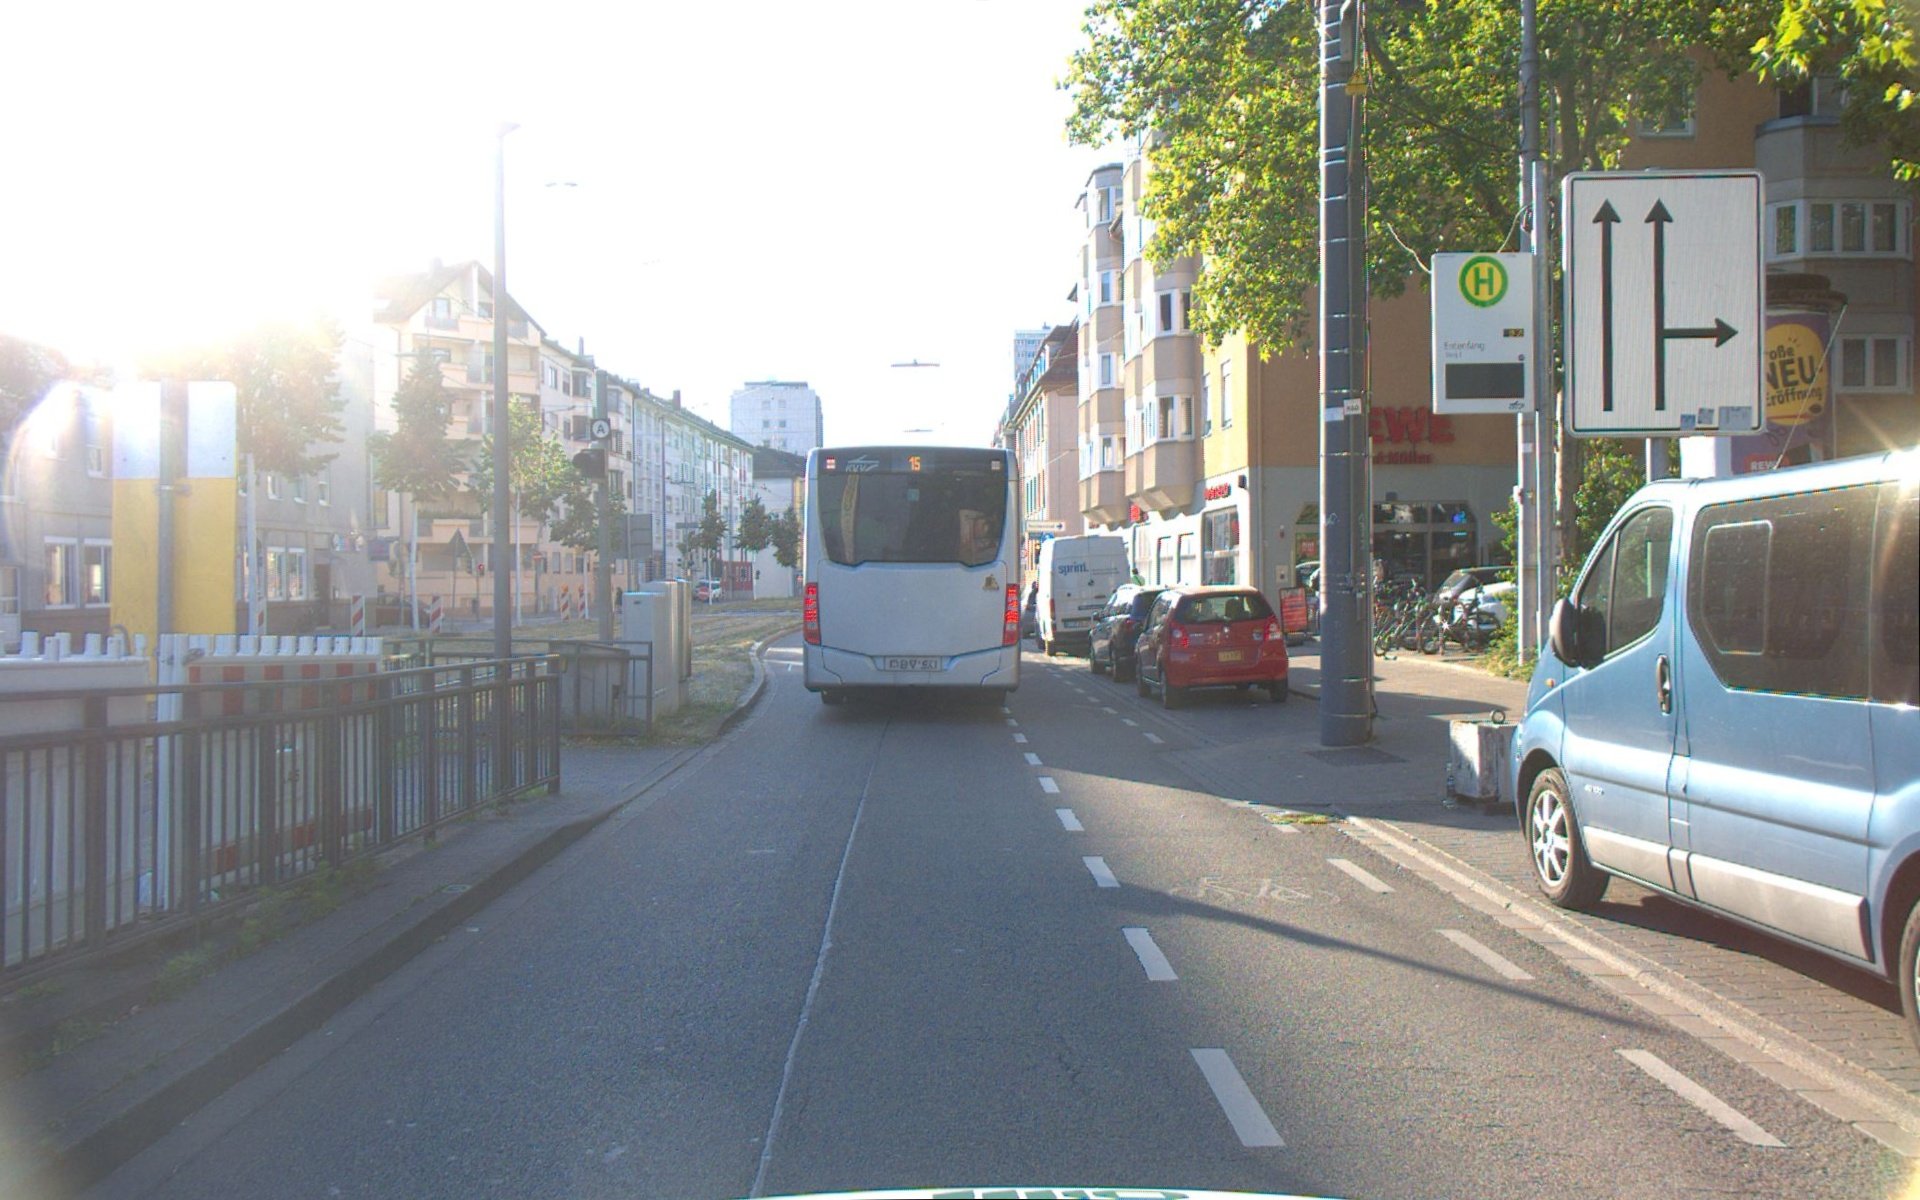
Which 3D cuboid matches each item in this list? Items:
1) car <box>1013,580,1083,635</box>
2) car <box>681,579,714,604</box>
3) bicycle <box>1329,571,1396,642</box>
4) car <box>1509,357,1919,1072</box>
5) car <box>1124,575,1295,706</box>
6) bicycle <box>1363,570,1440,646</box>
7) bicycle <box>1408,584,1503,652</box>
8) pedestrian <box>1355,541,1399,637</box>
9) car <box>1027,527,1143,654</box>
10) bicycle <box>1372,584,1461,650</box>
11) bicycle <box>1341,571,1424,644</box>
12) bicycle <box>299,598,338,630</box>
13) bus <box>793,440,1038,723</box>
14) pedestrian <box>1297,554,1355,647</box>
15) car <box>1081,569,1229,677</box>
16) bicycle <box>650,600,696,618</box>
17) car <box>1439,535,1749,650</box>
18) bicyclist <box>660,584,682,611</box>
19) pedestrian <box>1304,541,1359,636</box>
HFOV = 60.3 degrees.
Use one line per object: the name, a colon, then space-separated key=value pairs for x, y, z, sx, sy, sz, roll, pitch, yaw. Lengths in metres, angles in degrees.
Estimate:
car: x=2.601 y=0.192 z=49.617 sx=1.801 sy=1.563 sz=4.229 roll=-1 pitch=1 yaw=-1
car: x=-22.582 y=-0.732 z=142.195 sx=1.952 sy=2.049 sz=4.002 roll=-1 pitch=0 yaw=3
bicycle: x=7.387 y=0.109 z=30.347 sx=1.507 sy=1.248 sz=0.397 roll=-1 pitch=1 yaw=-42
car: x=3.739 y=0.317 z=6.074 sx=1.846 sy=2.114 sz=4.562 roll=-1 pitch=1 yaw=-1
car: x=3.222 y=0.473 z=21.964 sx=1.538 sy=1.520 sz=3.624 roll=-3 pitch=1 yaw=-2
bicycle: x=7.630 y=0.126 z=28.530 sx=0.636 sy=1.248 sz=1.573 roll=-1 pitch=1 yaw=42
bicycle: x=7.984 y=0.283 z=26.629 sx=1.664 sy=1.031 sz=0.642 roll=-2 pitch=1 yaw=-40
pedestrian: x=8.095 y=-0.212 z=32.102 sx=0.518 sy=1.812 sz=0.649 roll=-4 pitch=1 yaw=-9
car: x=2.790 y=-0.233 z=38.348 sx=1.976 sy=2.595 sz=5.783 roll=-4 pitch=1 yaw=-1
bicycle: x=7.552 y=0.276 z=27.341 sx=1.568 sy=1.031 sz=0.642 roll=-2 pitch=1 yaw=-40
bicycle: x=7.569 y=0.125 z=29.613 sx=1.568 sy=1.248 sz=0.642 roll=-2 pitch=1 yaw=-40
bicycle: x=-23.650 y=0.496 z=60.979 sx=0.731 sy=1.134 sz=1.778 roll=-1 pitch=1 yaw=-1
bus: x=-0.559 y=-0.246 z=22.743 sx=2.683 sy=3.109 sz=8.852 roll=1 pitch=1 yaw=-1
pedestrian: x=6.832 y=-0.009 z=30.917 sx=0.647 sy=1.664 sz=0.988 roll=-4 pitch=2 yaw=-8
car: x=3.169 y=0.335 z=27.709 sx=1.663 sy=1.557 sz=4.650 roll=-4 pitch=1 yaw=-2
bicycle: x=-12.952 y=0.409 z=74.694 sx=2.027 sy=0.745 sz=0.760 roll=-1 pitch=0 yaw=-12
car: x=10.805 y=-0.130 z=28.425 sx=4.525 sy=1.738 sz=1.999 roll=2 pitch=0 yaw=-2
bicyclist: x=-13.047 y=-0.131 z=74.682 sx=0.916 sy=1.181 sz=0.642 roll=-1 pitch=0 yaw=-12
pedestrian: x=7.274 y=-0.240 z=32.400 sx=0.790 sy=1.782 sz=0.768 roll=-4 pitch=1 yaw=-1
